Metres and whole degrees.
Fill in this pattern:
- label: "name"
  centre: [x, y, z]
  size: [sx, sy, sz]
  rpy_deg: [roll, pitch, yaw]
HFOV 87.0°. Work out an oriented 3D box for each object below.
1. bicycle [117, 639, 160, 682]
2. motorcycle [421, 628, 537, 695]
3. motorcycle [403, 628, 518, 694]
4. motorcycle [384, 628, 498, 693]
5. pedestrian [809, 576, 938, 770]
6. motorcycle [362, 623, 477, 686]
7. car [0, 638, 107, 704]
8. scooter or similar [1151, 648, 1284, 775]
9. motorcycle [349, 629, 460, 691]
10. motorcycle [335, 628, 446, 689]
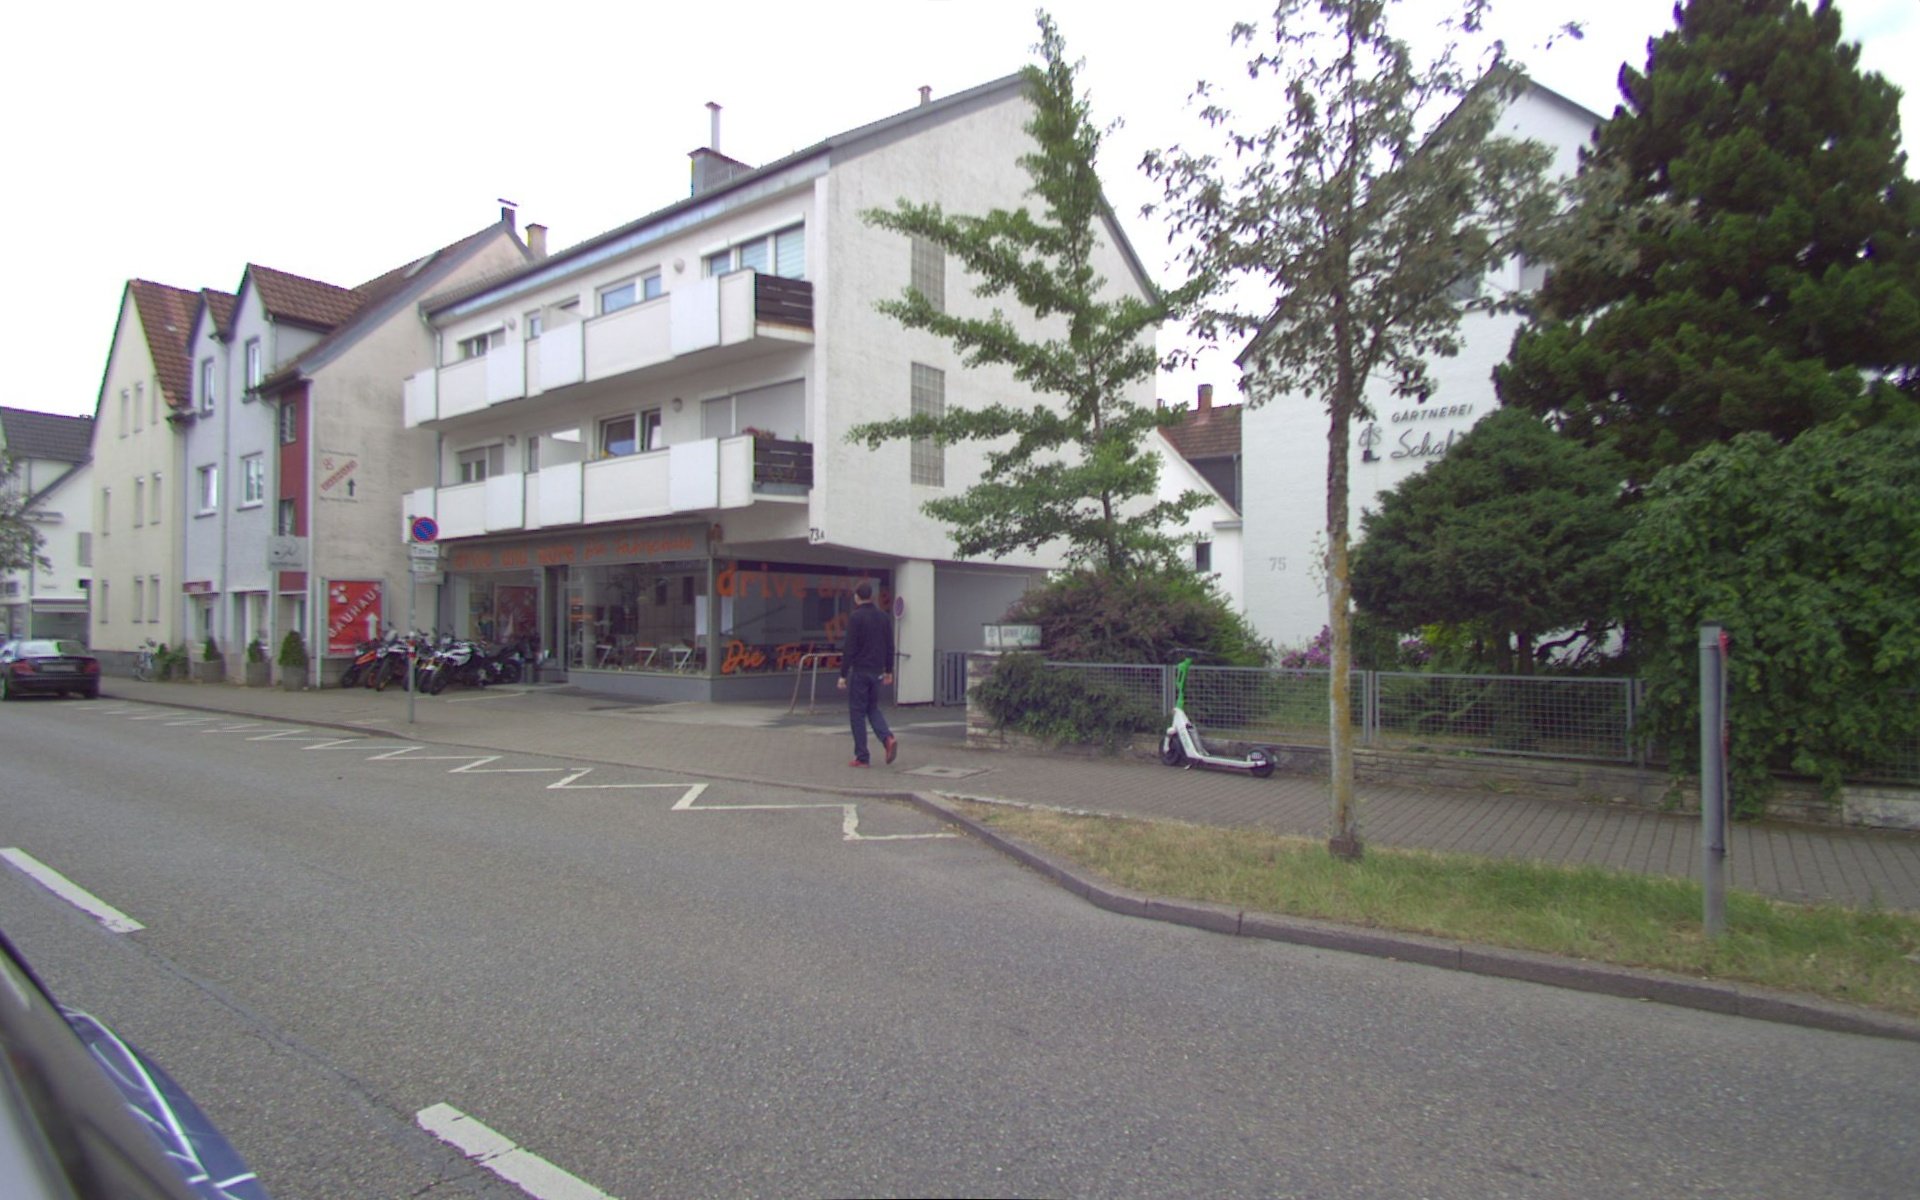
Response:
- label: "bicycle"
  centre: [-23.921, 1.752, 29.454]
  size: [2.020, 1.205, 0.509]
  rpy_deg: [-1, -1, 37]
- label: "motorcycle"
  centre: [-10.273, 1.282, 21.707]
  size: [0.612, 1.275, 2.205]
  rpy_deg: [-2, 1, 36]
- label: "motorcycle"
  centre: [-10.939, 1.299, 22.227]
  size: [0.612, 1.275, 2.205]
  rpy_deg: [-2, 1, 36]
- label: "motorcycle"
  centre: [-11.601, 1.331, 22.704]
  size: [0.612, 1.275, 2.205]
  rpy_deg: [-2, 1, 36]
- label: "pedestrian"
  centre: [-0.893, 0.708, 10.396]
  size: [1.018, 1.863, 0.744]
  rpy_deg: [-2, 1, 38]
- label: "motorcycle"
  centre: [-12.329, 1.225, 23.169]
  size: [0.698, 1.275, 2.205]
  rpy_deg: [-1, 1, 36]
- label: "car"
  centre: [-22.340, 1.648, 24.428]
  size: [4.334, 1.428, 1.771]
  rpy_deg: [-1, -3, 37]
- label: "scooter or similar"
  centre: [2.422, 1.026, 9.588]
  size: [1.178, 1.120, 0.336]
  rpy_deg: [-2, -1, 39]
- label: "motorcycle"
  centre: [-12.947, 1.360, 23.657]
  size: [0.612, 1.275, 2.205]
  rpy_deg: [-2, 1, 36]
- label: "motorcycle"
  centre: [-13.491, 1.370, 24.050]
  size: [0.612, 1.275, 2.205]
  rpy_deg: [-2, 1, 36]
